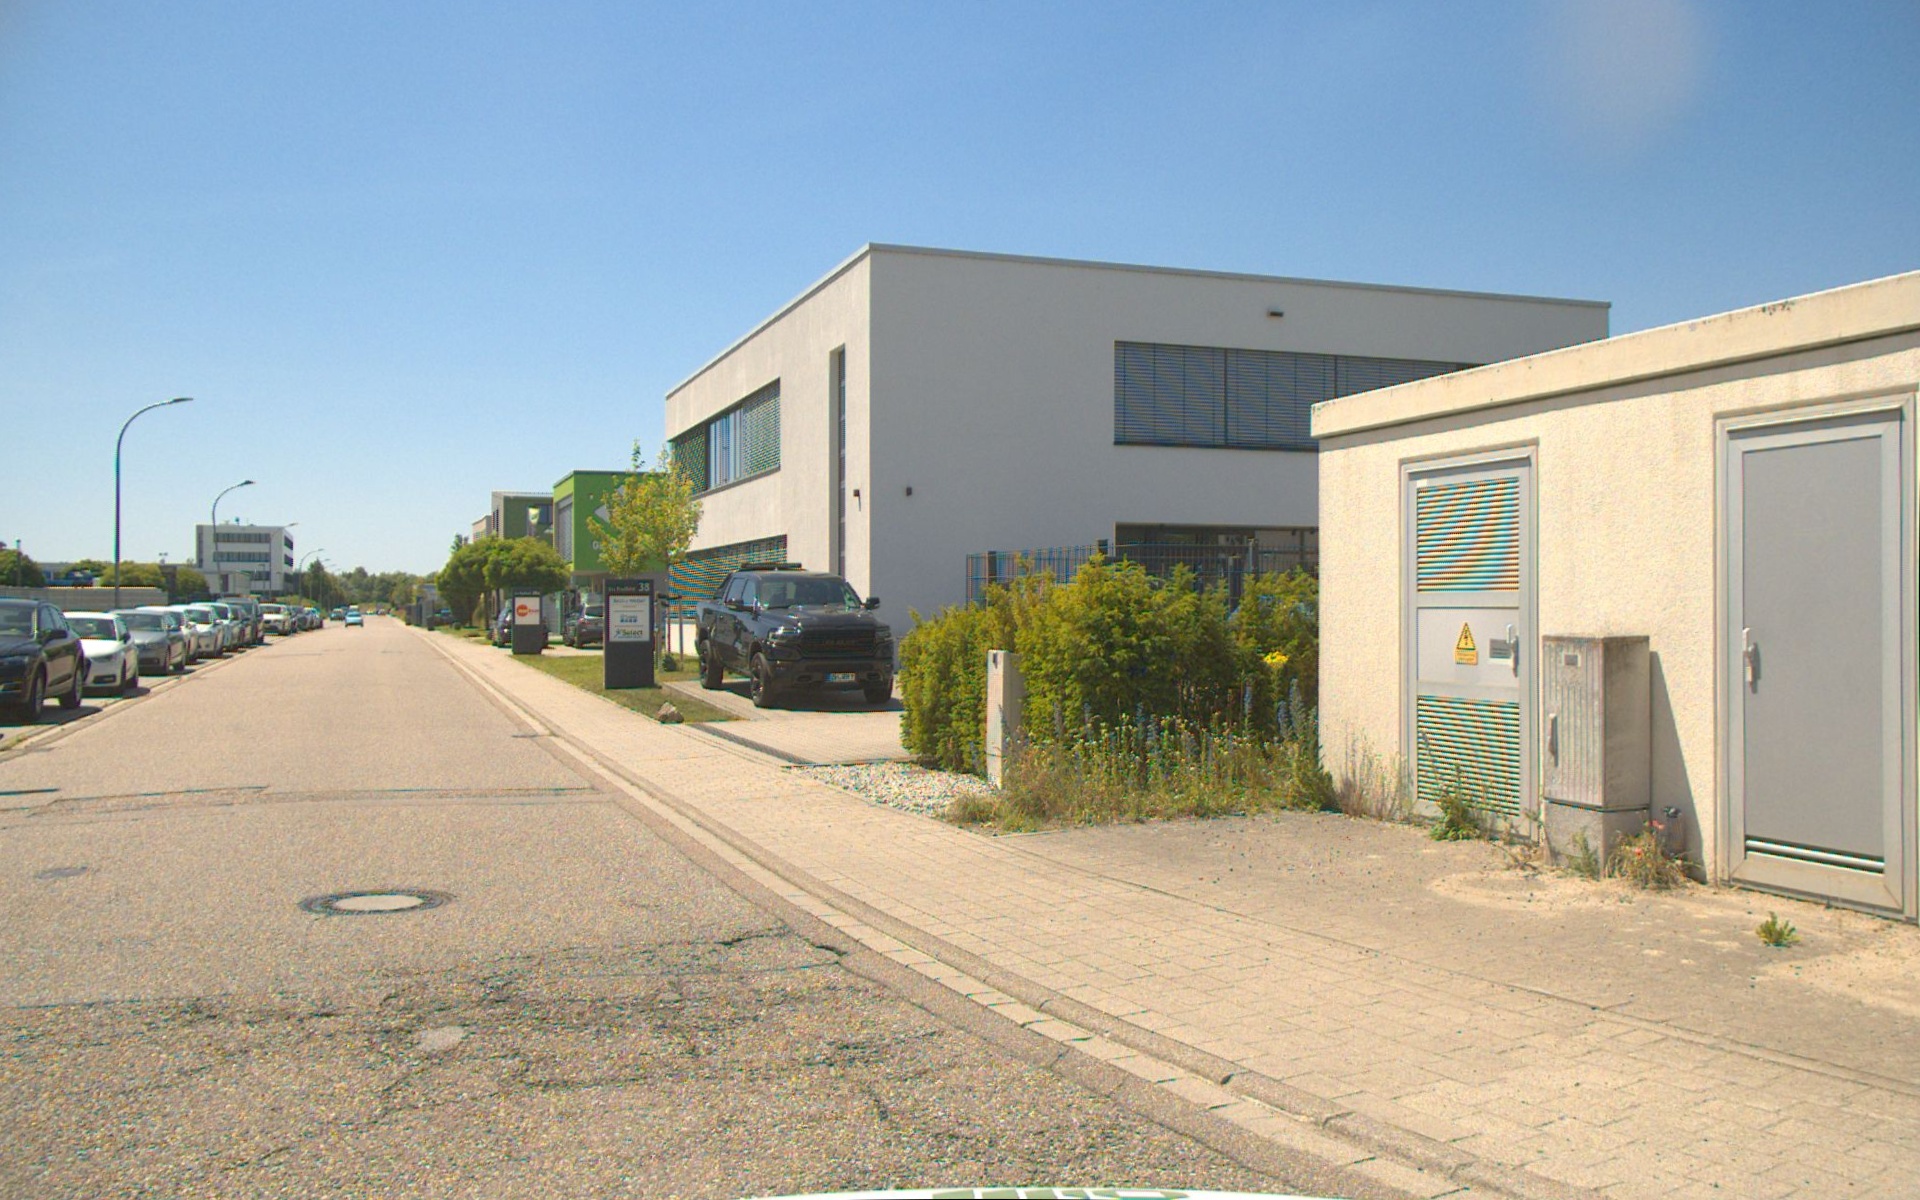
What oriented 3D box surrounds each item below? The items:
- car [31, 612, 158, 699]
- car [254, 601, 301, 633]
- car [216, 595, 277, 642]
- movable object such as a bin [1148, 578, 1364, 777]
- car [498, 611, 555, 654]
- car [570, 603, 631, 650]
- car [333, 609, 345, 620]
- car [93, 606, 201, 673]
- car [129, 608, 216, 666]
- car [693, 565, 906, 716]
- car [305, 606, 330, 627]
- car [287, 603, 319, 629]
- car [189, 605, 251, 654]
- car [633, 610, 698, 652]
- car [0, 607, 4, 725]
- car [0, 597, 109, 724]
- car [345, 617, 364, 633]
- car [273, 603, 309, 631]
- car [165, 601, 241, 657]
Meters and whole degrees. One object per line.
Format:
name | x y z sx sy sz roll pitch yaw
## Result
car | -15.757 0.961 30.273 1.675 1.410 3.911 0 0 -22
car | -34.239 0.862 83.043 1.759 1.569 4.342 1 -1 -18
car | -27.625 0.704 64.141 1.775 1.750 4.596 1 0 -19
movable object such as a bin | 2.436 0.602 13.738 1.363 1.549 1.163 -1 0 -21
car | -15.656 1.156 59.616 1.667 1.453 4.222 1 0 -19
car | -13.146 0.938 60.346 1.697 1.661 3.999 1 0 -19
car | -86.455 2.014 230.333 1.445 1.516 3.189 0 0 -19
car | -18.855 0.871 38.522 1.658 1.410 4.614 0 0 -19
car | -21.302 0.969 44.881 1.678 1.469 4.413 1 0 -20
car | -2.720 0.507 26.491 1.965 2.048 5.765 -1 2 -21
car | -51.108 1.283 131.533 1.743 1.620 4.333 1 -1 -20
car | -42.810 1.019 107.851 1.764 1.635 4.436 1 -1 -20
car | -24.501 0.965 54.844 1.611 1.563 3.636 1 0 -20
car | -10.805 1.125 60.525 1.697 1.475 3.999 1 0 -19
car | -12.353 0.859 19.021 1.745 1.492 4.159 0 0 -22
car | -14.007 0.810 24.451 1.742 1.680 4.826 0 0 -18
car | -61.830 2.569 168.884 1.680 1.436 4.752 -2 1 -22
car | -38.428 0.951 95.070 1.737 1.544 4.354 1 -1 -20
car | -22.588 0.833 49.499 1.678 1.563 4.545 1 0 -20
